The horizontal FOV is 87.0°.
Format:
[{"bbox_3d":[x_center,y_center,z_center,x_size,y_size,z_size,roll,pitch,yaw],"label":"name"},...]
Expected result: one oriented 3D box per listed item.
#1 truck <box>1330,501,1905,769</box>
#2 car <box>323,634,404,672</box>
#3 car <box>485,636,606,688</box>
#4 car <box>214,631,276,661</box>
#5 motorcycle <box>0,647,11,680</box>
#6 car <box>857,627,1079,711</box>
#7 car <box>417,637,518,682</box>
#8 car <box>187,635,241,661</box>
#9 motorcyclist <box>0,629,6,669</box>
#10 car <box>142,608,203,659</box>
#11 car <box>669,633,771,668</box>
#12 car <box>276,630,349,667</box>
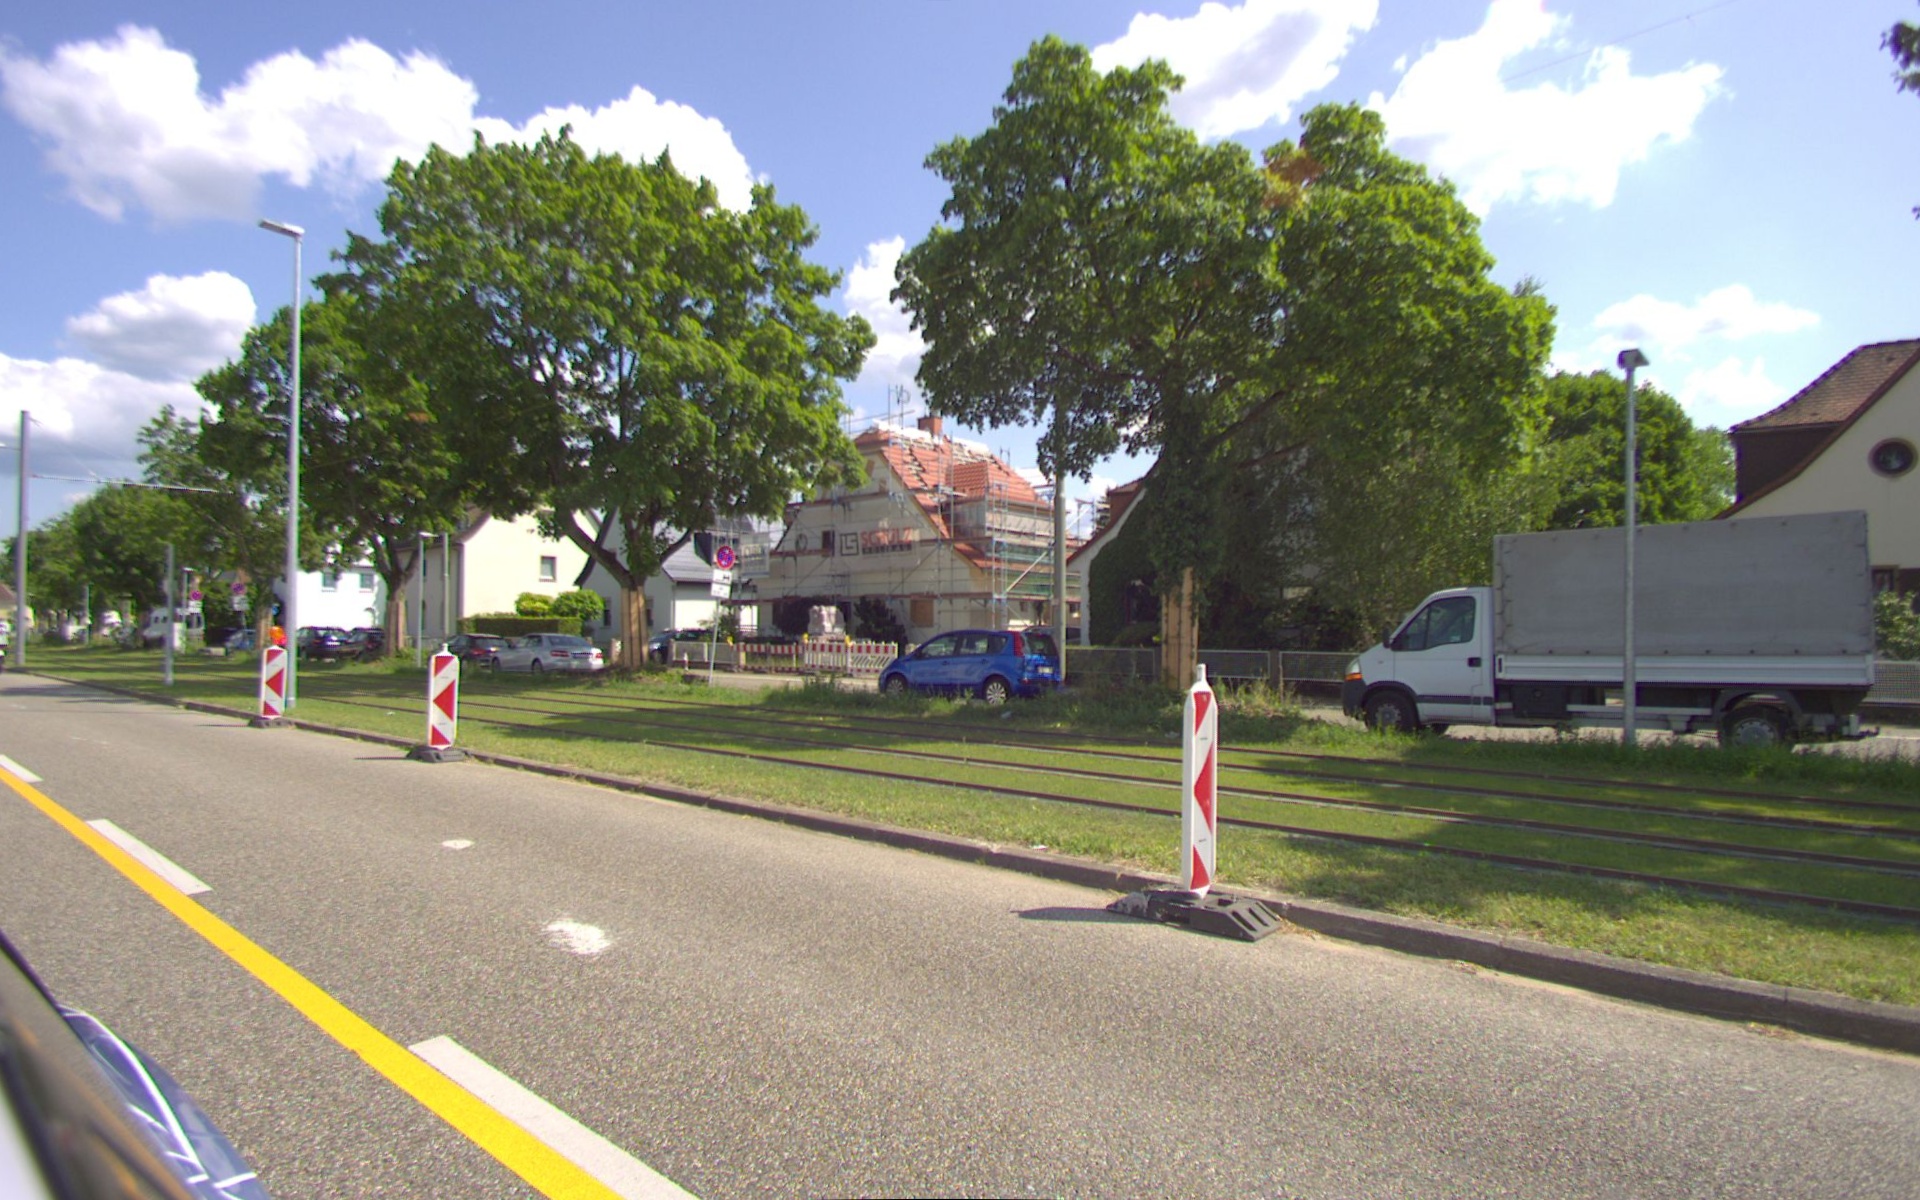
[{"bbox_3d":[8.302,0.453,13.402,5.971,2.802,2.242,-2,-3,41],"label":"truck"},{"bbox_3d":[-25.177,2.250,42.651,4.403,1.497,1.680,-3,-3,41],"label":"car"},{"bbox_3d":[-13.096,1.929,31.838,4.520,1.497,1.765,-4,-3,42],"label":"car"},{"bbox_3d":[-37.491,2.424,53.049,4.403,1.497,1.680,-3,-3,41],"label":"car"},{"bbox_3d":[-31.504,2.040,32.798,2.106,1.054,0.651,-1,-3,35],"label":"motorcycle"},{"bbox_3d":[0.068,1.350,20.280,4.403,1.497,1.680,-3,-3,41],"label":"car"},{"bbox_3d":[-17.518,2.117,35.893,4.403,1.497,1.680,-3,-3,41],"label":"car"},{"bbox_3d":[-44.474,2.871,60.329,4.403,1.497,1.680,-3,-3,41],"label":"car"},{"bbox_3d":[-31.538,1.600,32.831,0.777,1.301,0.651,-1,-3,34],"label":"motorcyclist"},{"bbox_3d":[-49.514,2.157,63.606,5.080,3.061,2.108,-3,-3,41],"label":"car"},{"bbox_3d":[-10.923,2.289,46.211,1.702,1.497,4.345,-3,-3,41],"label":"car"},{"bbox_3d":[-29.504,2.221,46.060,4.403,1.584,1.680,-3,-3,41],"label":"car"}]
